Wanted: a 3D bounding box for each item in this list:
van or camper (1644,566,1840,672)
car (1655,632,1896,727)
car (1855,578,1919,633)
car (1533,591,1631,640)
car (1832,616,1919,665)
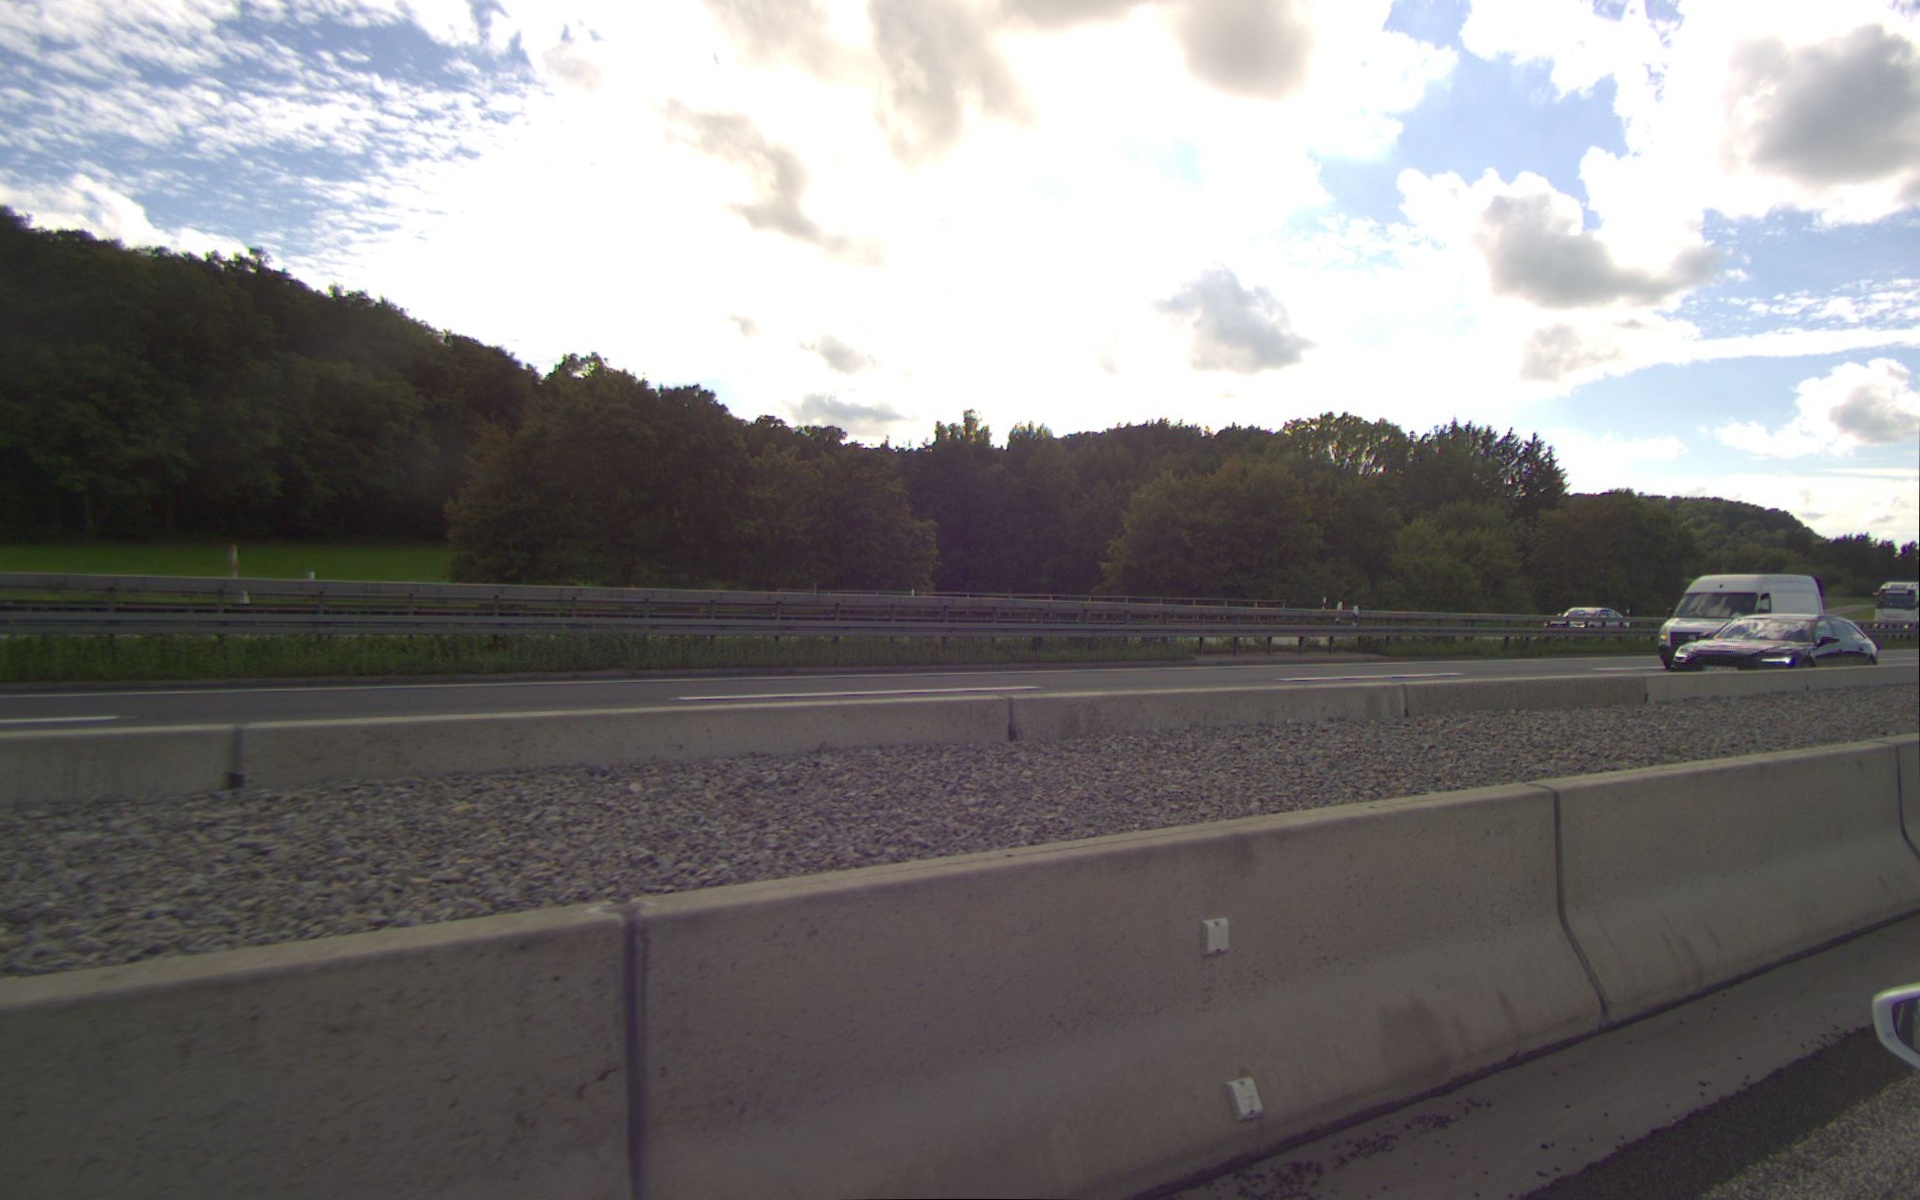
[{"bbox_3d":[21.656,0.539,27.703,6.785,2.659,1.976,1,0,-32],"label":"van or camper"},{"bbox_3d":[14.933,1.365,18.328,4.723,1.454,1.915,1,0,-31],"label":"car"},{"bbox_3d":[77.975,0.527,82.122,14.680,4.134,3.792,1,0,-35],"label":"car"},{"bbox_3d":[27.759,0.698,44.801,4.224,2.040,1.983,1,0,-31],"label":"car"},{"bbox_3d":[35.247,1.533,38.376,4.105,1.722,1.716,1,0,-31],"label":"car"}]
